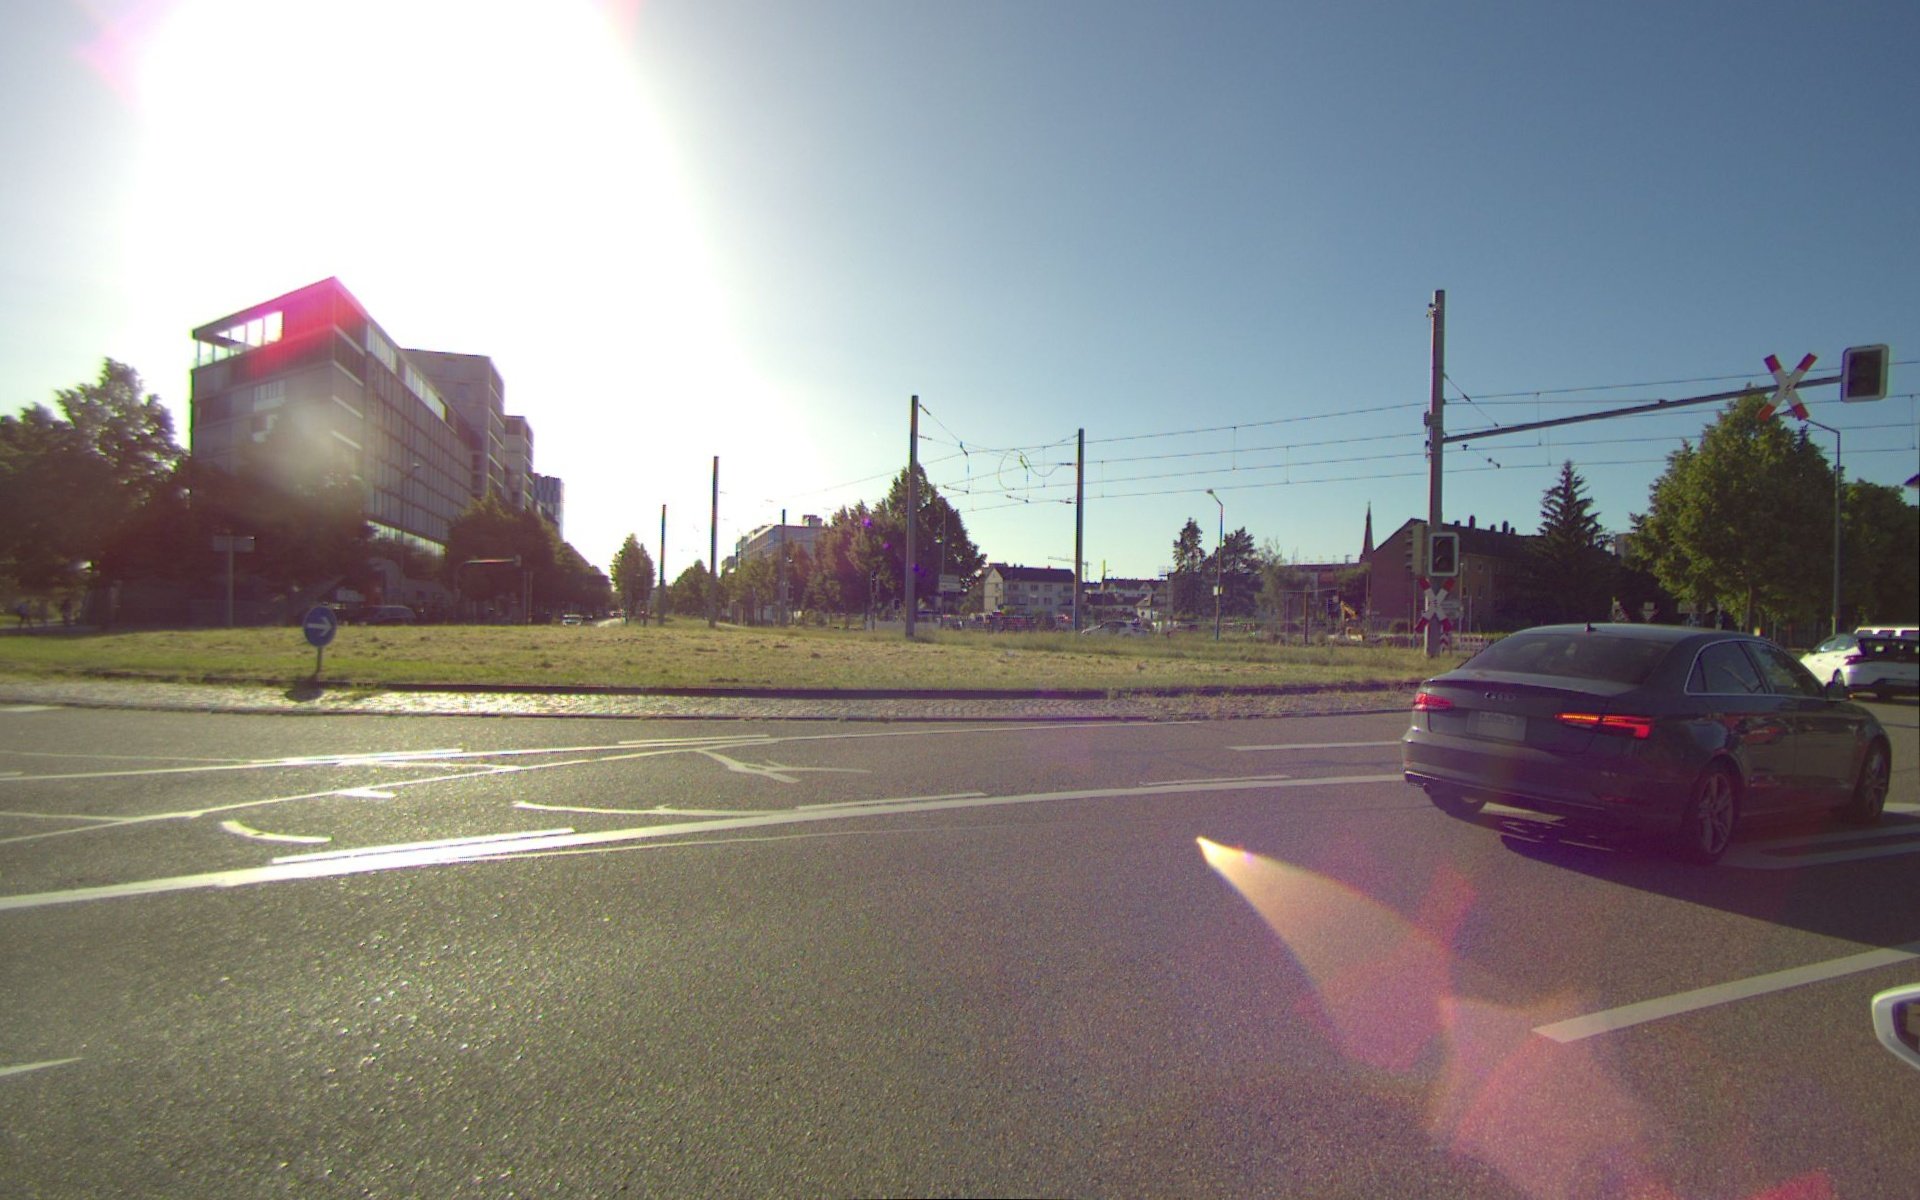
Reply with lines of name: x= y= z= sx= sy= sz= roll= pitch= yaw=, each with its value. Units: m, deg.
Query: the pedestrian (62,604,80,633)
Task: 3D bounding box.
pedestrian: x=-52.599 y=1.106 z=59.422 sx=0.877 sy=1.705 sz=0.675 roll=0 pitch=-1 yaw=43

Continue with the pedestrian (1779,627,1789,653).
pedestrian: x=66.487 y=3.243 z=81.054 sx=0.449 sy=2.040 sz=0.468 roll=2 pitch=-1 yaw=-29

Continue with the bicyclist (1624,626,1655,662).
bicyclist: x=36.576 y=2.358 z=54.057 sx=0.872 sy=1.876 sz=1.021 roll=4 pitch=-1 yaw=-21

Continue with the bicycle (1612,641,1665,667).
bicycle: x=36.516 y=2.891 z=54.091 sx=0.872 sy=1.282 sz=2.199 roll=4 pitch=-1 yaw=-20

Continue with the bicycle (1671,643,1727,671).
bicycle: x=37.596 y=2.883 z=51.118 sx=0.806 sy=1.282 sz=2.199 roll=4 pitch=-1 yaw=-20

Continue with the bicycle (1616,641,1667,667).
bicycle: x=37.367 y=2.965 z=55.086 sx=0.872 sy=1.282 sz=2.199 roll=4 pitch=-1 yaw=-20

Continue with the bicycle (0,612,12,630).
bicycle: x=-57.302 y=1.254 z=59.971 sx=0.580 sy=1.025 sz=1.856 roll=2 pitch=-2 yaw=-30

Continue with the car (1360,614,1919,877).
car: x=5.043 y=0.842 z=7.291 sx=4.309 sy=1.398 sz=1.751 roll=2 pitch=-1 yaw=-31

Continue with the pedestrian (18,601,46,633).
pedestrian: x=-48.058 y=0.877 z=52.032 sx=0.868 sy=1.651 sz=0.760 roll=1 pitch=0 yaw=25

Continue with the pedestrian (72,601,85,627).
pedestrian: x=-59.005 y=0.919 z=67.220 sx=0.498 sy=1.711 sz=0.550 roll=1 pitch=-1 yaw=-28

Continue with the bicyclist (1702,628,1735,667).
bicyclist: x=38.743 y=2.420 z=51.299 sx=0.800 sy=1.876 sz=1.021 roll=4 pitch=-1 yaw=-21

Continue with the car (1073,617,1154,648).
car: x=9.097 y=1.897 z=59.536 sx=4.334 sy=1.661 sz=1.994 roll=1 pitch=-1 yaw=34

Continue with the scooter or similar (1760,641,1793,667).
scooter or similar: x=40.023 y=2.640 z=49.246 sx=0.437 sy=1.264 sz=1.261 roll=3 pitch=-2 yaw=-15

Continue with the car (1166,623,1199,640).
car: x=29.148 y=4.115 z=131.448 sx=1.971 sy=2.040 sz=4.476 roll=4 pitch=-1 yaw=-22

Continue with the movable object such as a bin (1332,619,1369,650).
movable object such as a bin: x=37.859 y=3.371 z=97.495 sx=2.378 sy=2.809 sz=4.003 roll=3 pitch=-1 yaw=8

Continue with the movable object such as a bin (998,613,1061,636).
movable object such as a bin: x=9.209 y=3.279 z=133.634 sx=7.801 sy=2.819 sz=2.934 roll=2 pitch=-1 yaw=-16

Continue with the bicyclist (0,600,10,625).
bicyclist: x=-57.281 y=0.739 z=59.992 sx=0.580 sy=1.487 sz=0.750 roll=2 pitch=-2 yaw=-30

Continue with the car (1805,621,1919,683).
car: x=30.860 y=1.715 z=33.212 sx=1.963 sy=1.922 sz=4.755 roll=2 pitch=-1 yaw=3

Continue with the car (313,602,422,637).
car: x=-33.199 y=1.082 z=56.494 sx=2.412 sy=1.808 sz=5.017 roll=1 pitch=-1 yaw=14

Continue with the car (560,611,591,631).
car: x=-35.367 y=1.909 z=92.383 sx=1.742 sy=1.808 sz=3.913 roll=2 pitch=-1 yaw=-8

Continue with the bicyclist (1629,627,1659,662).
bicyclist: x=37.442 y=2.431 z=54.985 sx=0.872 sy=1.876 sz=1.021 roll=4 pitch=-1 yaw=-21

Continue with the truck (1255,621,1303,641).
truck: x=37.173 y=3.611 z=117.317 sx=2.135 sy=2.040 sz=6.416 roll=4 pitch=-1 yaw=-15

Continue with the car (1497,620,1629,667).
car: x=22.711 y=1.598 z=38.062 sx=1.963 sy=1.596 sz=4.402 roll=1 pitch=-1 yaw=-8

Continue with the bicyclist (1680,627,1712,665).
bicyclist: x=37.560 y=2.349 z=51.271 sx=0.800 sy=1.876 sz=1.021 roll=4 pitch=-1 yaw=-21

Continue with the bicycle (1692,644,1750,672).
bicycle: x=38.745 y=2.952 z=51.171 sx=0.806 sy=1.282 sz=2.199 roll=4 pitch=-1 yaw=-20

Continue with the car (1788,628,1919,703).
car: x=20.189 y=1.419 z=22.457 sx=1.775 sy=1.480 sz=3.805 roll=3 pitch=-1 yaw=27
